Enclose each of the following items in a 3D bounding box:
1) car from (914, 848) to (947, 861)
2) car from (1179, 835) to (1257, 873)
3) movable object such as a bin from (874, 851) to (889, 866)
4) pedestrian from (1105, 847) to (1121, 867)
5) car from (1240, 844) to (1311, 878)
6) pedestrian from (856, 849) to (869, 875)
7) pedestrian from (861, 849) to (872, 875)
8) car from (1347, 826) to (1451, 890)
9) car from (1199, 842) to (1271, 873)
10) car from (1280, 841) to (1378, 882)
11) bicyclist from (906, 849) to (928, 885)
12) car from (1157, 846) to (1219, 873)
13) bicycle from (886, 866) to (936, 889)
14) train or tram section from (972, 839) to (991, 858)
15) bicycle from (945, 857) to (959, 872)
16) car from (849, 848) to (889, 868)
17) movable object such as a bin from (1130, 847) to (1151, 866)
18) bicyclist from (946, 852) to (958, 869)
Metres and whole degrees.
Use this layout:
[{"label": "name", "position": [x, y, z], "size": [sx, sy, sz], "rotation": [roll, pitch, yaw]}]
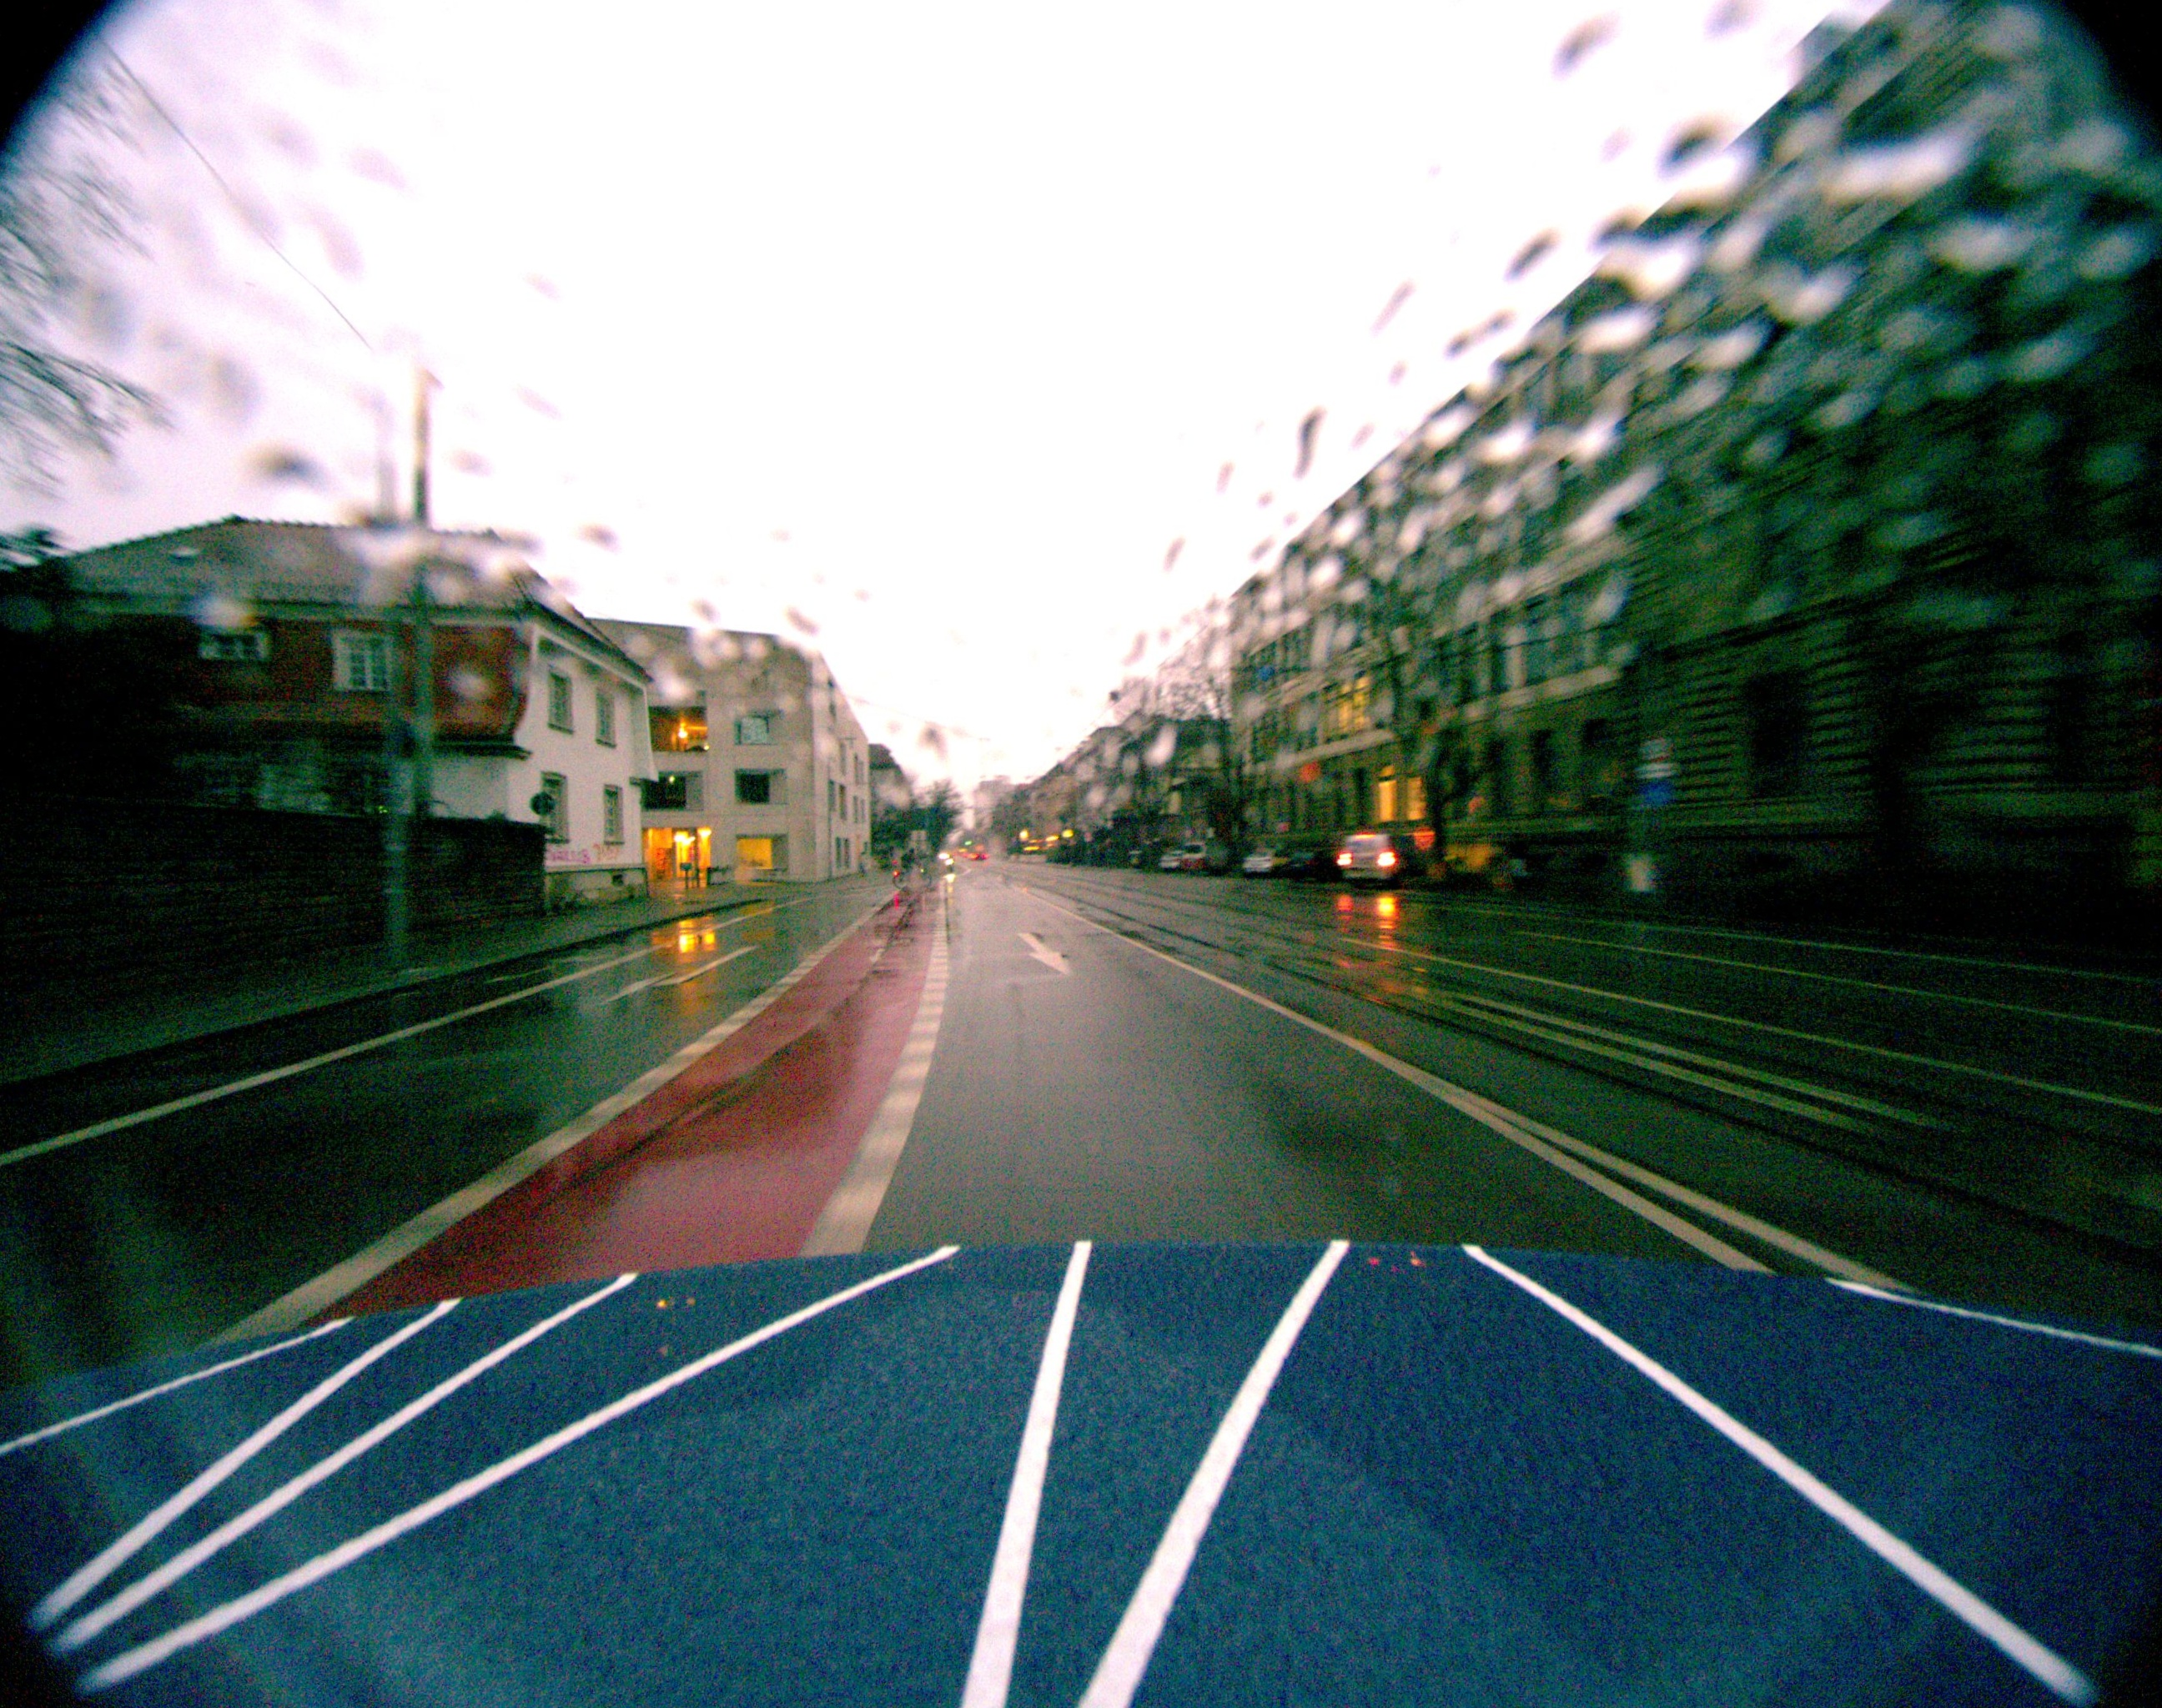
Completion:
[{"label": "car", "position": [-19.829, 0.102, 100.207], "size": [3.861, 1.421, 1.859], "rotation": [-4, 2, -26]}, {"label": "car", "position": [8.466, -0.035, 46.759], "size": [4.629, 2.042, 1.961], "rotation": [-4, 2, -37]}, {"label": "movable object such as a bin", "position": [-19.422, 0.433, 73.825], "size": [1.260, 1.437, 1.417], "rotation": [-1, 1, -10]}, {"label": "pedestrian", "position": [2.782, 0.242, 65.843], "size": [0.925, 1.693, 0.946], "rotation": [-5, 2, -32]}, {"label": "car", "position": [9.940, 0.346, 38.689], "size": [3.833, 1.449, 1.633], "rotation": [-5, 2, -43]}, {"label": "pedestrian", "position": [-15.578, 0.543, 54.227], "size": [0.773, 1.848, 0.718], "rotation": [0, 1, -8]}, {"label": "pedestrian", "position": [-15.302, 0.542, 54.272], "size": [0.658, 1.849, 0.659], "rotation": [0, 2, -8]}, {"label": "car", "position": [11.808, 0.086, 28.001], "size": [1.907, 2.022, 4.812], "rotation": [-2, 2, 43]}, {"label": "car", "position": [8.865, 0.177, 43.578], "size": [3.983, 1.531, 1.819], "rotation": [-4, 2, -37]}, {"label": "car", "position": [11.005, 0.303, 33.602], "size": [4.484, 1.449, 1.795], "rotation": [-4, 2, -36]}, {"label": "bicyclist", "position": [-7.521, 0.591, 34.856], "size": [0.856, 1.586, 0.780], "rotation": [-1, 2, -5]}, {"label": "car", "position": [7.448, 0.342, 52.560], "size": [4.191, 1.582, 1.771], "rotation": [-5, 2, -39]}, {"label": "bicycle", "position": [-7.793, 1.059, 34.867], "size": [2.122, 0.939, 0.943], "rotation": [-2, 1, -6]}, {"label": "train or tram section", "position": [-22.394, -1.330, 169.413], "size": [2.888, 3.715, 27.304], "rotation": [-4, 1, -10]}, {"label": "bicycle", "position": [-10.203, 0.832, 60.234], "size": [0.724, 1.084, 2.285], "rotation": [-3, 0, -3]}, {"label": "car", "position": [-20.586, 0.378, 73.762], "size": [3.461, 1.638, 1.730], "rotation": [-4, 2, -10]}, {"label": "movable object such as a bin", "position": [5.011, 0.204, 63.760], "size": [1.340, 1.456, 0.988], "rotation": [-2, 2, 43]}, {"label": "bicyclist", "position": [-10.221, 0.505, 60.278], "size": [0.717, 1.335, 0.719], "rotation": [-3, 2, -3]}]
